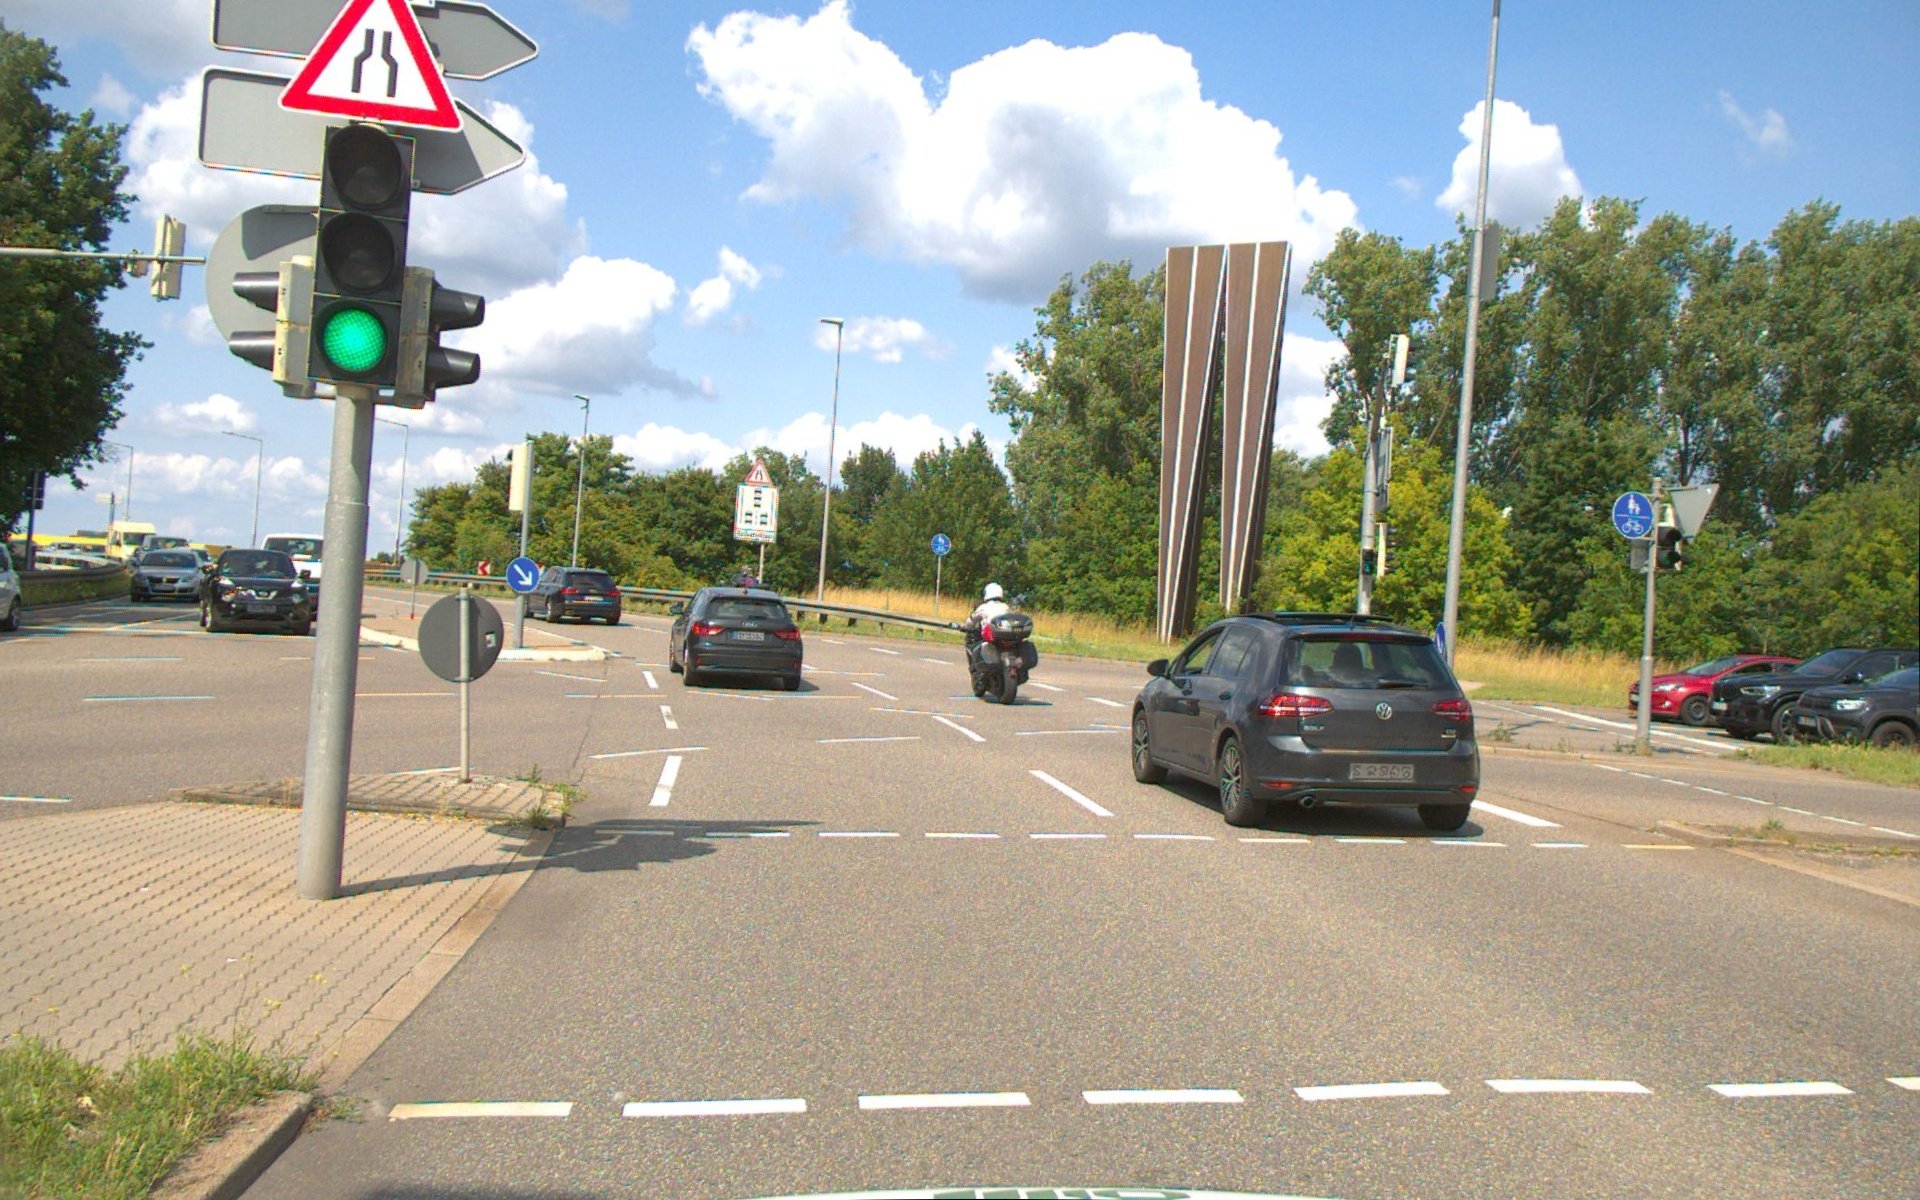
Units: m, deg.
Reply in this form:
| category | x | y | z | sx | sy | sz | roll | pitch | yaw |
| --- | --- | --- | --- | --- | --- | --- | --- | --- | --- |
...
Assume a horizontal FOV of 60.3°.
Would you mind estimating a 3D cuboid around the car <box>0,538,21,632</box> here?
| category | x | y | z | sx | sy | sz | roll | pitch | yaw |
| --- | --- | --- | --- | --- | --- | --- | --- | --- | --- |
| car | -16.382 | -0.248 | 26.399 | 1.707 | 1.547 | 4.045 | 1 | 1 | -20 |

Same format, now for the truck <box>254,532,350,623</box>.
| category | x | y | z | sx | sy | sz | roll | pitch | yaw |
| --- | --- | --- | --- | --- | --- | --- | --- | --- | --- |
| truck | -15.629 | -0.562 | 39.445 | 1.932 | 1.946 | 5.337 | 3 | 0 | -21 |

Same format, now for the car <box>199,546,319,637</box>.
| category | x | y | z | sx | sy | sz | roll | pitch | yaw |
| --- | --- | --- | --- | --- | --- | --- | --- | --- | --- |
| car | -13.492 | -0.199 | 31.729 | 1.679 | 1.584 | 3.786 | 3 | 0 | -29 |

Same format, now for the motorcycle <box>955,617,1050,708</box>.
| category | x | y | z | sx | sy | sz | roll | pitch | yaw |
| --- | --- | --- | --- | --- | --- | --- | --- | --- | --- |
| motorcycle | 0.578 | 0.870 | 23.782 | 0.775 | 1.151 | 2.392 | 3 | 0 | -12 |

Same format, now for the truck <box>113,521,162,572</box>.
| category | x | y | z | sx | sy | sz | roll | pitch | yaw |
| --- | --- | --- | --- | --- | --- | --- | --- | --- | --- |
| truck | -45.210 | -2.971 | 90.865 | 1.973 | 2.666 | 6.042 | 1 | 2 | -30 |

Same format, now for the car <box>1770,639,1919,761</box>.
| category | x | y | z | sx | sy | sz | roll | pitch | yaw |
| --- | --- | --- | --- | --- | --- | --- | --- | --- | --- |
| car | 14.654 | 1.570 | 24.661 | 4.194 | 1.645 | 1.845 | 4 | -1 | 0 |

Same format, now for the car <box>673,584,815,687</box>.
| category | x | y | z | sx | sy | sz | roll | pitch | yaw |
| --- | --- | --- | --- | --- | --- | --- | --- | --- | --- |
| car | -3.354 | 0.506 | 25.143 | 1.654 | 1.412 | 3.724 | 2 | 0 | -15 |

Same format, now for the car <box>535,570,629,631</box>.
| category | x | y | z | sx | sy | sz | roll | pitch | yaw |
| --- | --- | --- | --- | --- | --- | --- | --- | --- | --- |
| car | -10.065 | -0.009 | 43.875 | 1.621 | 1.504 | 3.842 | 3 | 0 | -25 |

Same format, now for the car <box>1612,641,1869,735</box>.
| category | x | y | z | sx | sy | sz | roll | pitch | yaw |
| --- | --- | --- | --- | --- | --- | --- | --- | --- | --- |
| car | 15.180 | 1.693 | 32.303 | 4.117 | 1.399 | 1.759 | 4 | 0 | 0 |

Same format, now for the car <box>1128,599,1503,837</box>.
| category | x | y | z | sx | sy | sz | roll | pitch | yaw |
| --- | --- | --- | --- | --- | --- | --- | --- | --- | --- |
| car | 2.544 | 0.785 | 12.797 | 1.611 | 1.504 | 3.866 | 3 | 0 | -7 |

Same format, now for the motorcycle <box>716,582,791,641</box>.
| category | x | y | z | sx | sy | sz | roll | pitch | yaw |
| --- | --- | --- | --- | --- | --- | --- | --- | --- | --- |
| motorcycle | -4.863 | 0.249 | 38.845 | 0.878 | 1.269 | 2.376 | 3 | 0 | -29 |

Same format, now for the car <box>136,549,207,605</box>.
| category | x | y | z | sx | sy | sz | roll | pitch | yaw |
| --- | --- | --- | --- | --- | --- | --- | --- | --- | --- |
| car | -22.642 | -0.679 | 47.589 | 1.660 | 1.504 | 4.678 | 1 | 1 | -24 |

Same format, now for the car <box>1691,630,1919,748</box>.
| category | x | y | z | sx | sy | sz | roll | pitch | yaw |
| --- | --- | --- | --- | --- | --- | --- | --- | --- | --- |
| car | 15.106 | 1.542 | 28.482 | 4.117 | 1.674 | 1.838 | 4 | 0 | 0 |

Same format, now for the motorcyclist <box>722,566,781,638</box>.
| category | x | y | z | sx | sy | sz | roll | pitch | yaw |
| --- | --- | --- | --- | --- | --- | --- | --- | --- | --- |
| motorcyclist | -4.922 | 0.052 | 38.960 | 0.956 | 1.624 | 1.113 | 3 | -1 | -30 |

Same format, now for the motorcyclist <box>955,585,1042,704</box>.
| category | x | y | z | sx | sy | sz | roll | pitch | yaw |
| --- | --- | --- | --- | --- | --- | --- | --- | --- | --- |
| motorcyclist | 0.545 | 0.635 | 24.007 | 0.949 | 1.648 | 1.121 | 3 | -1 | -12 |
